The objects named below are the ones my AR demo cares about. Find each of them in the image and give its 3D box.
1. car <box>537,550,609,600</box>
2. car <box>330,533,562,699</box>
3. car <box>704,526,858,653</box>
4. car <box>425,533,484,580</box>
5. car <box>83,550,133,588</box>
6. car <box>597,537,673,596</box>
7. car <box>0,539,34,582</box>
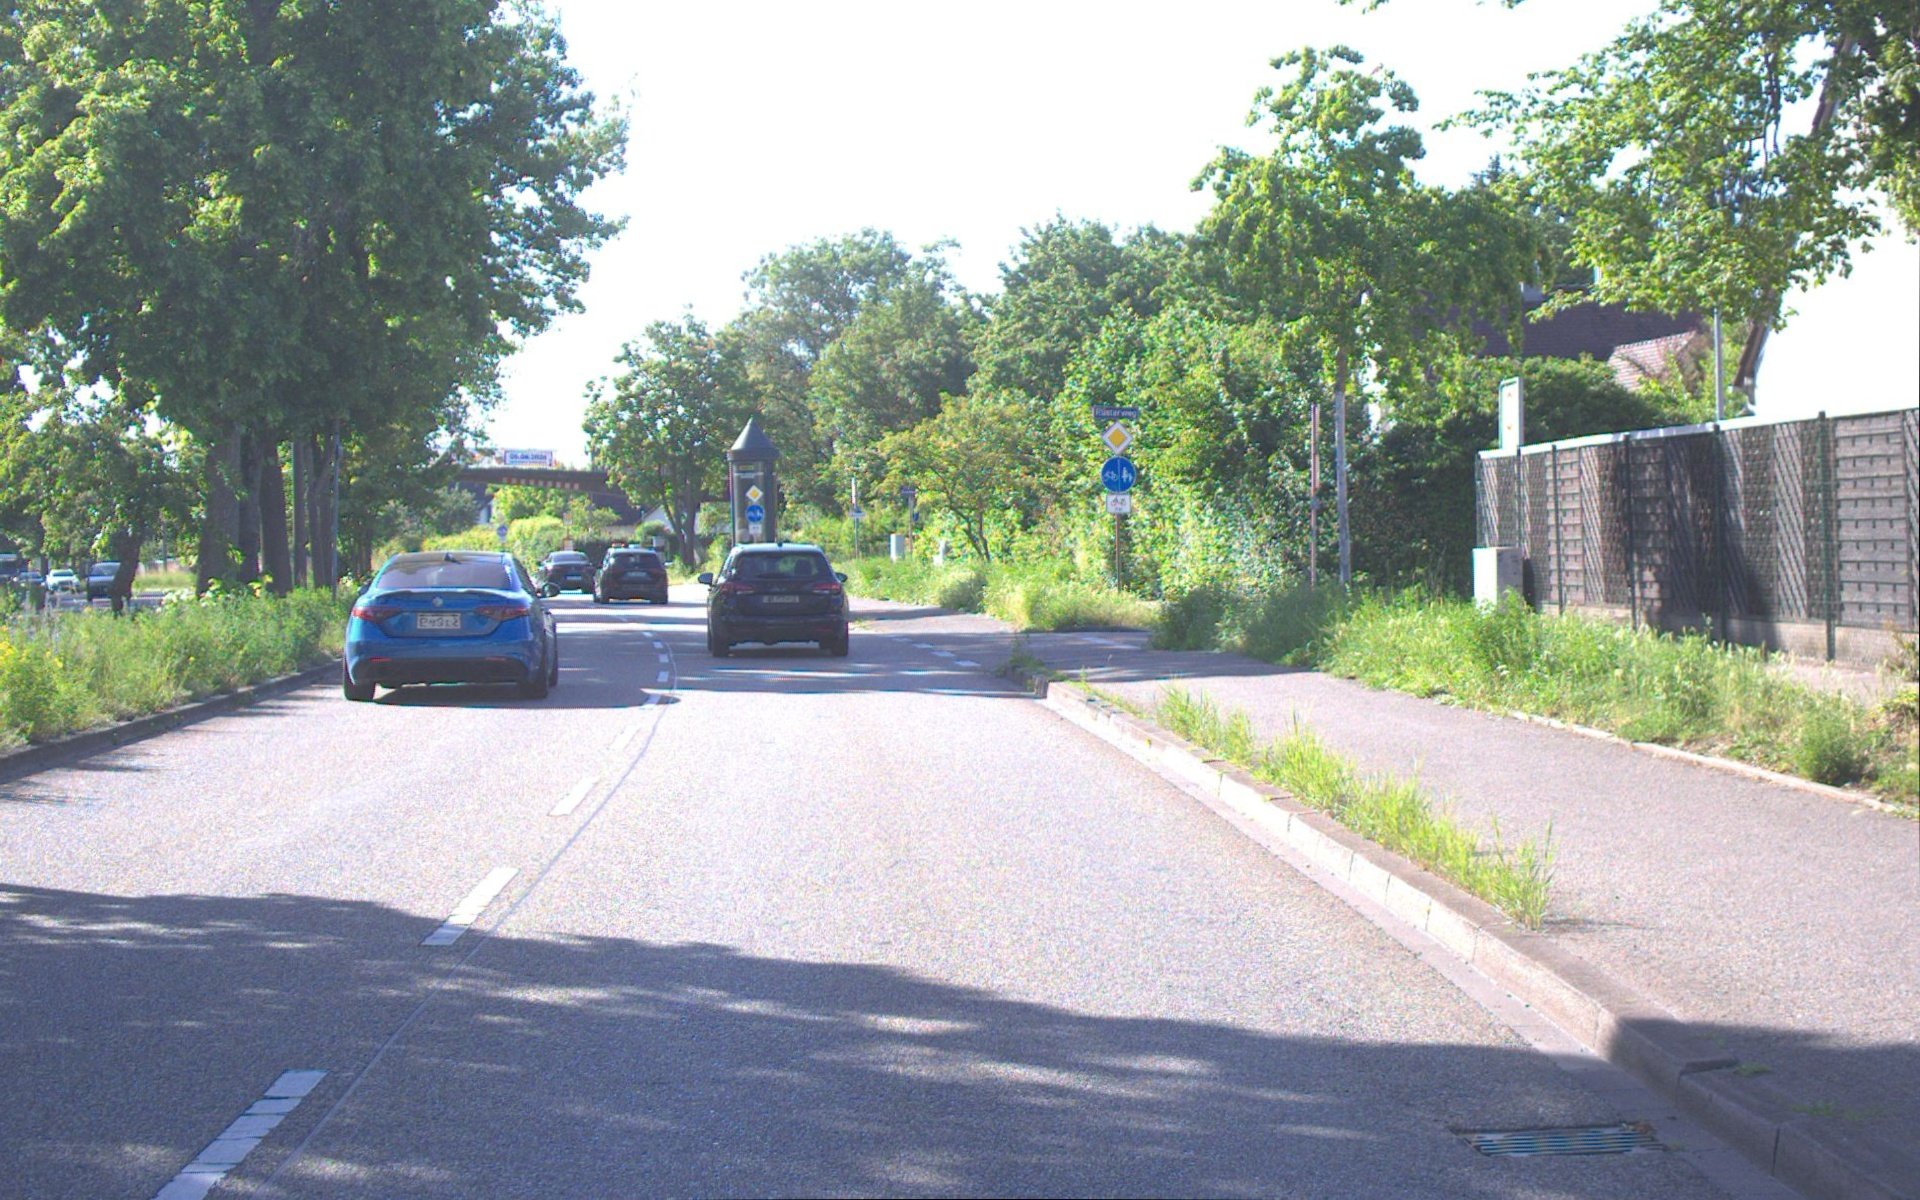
[{"bbox_3d":[-13.316,-0.870,118.051,1.915,1.672,4.014,0,1,-14],"label":"car"},{"bbox_3d":[-4.958,0.120,33.634,1.838,1.469,4.185,-2,1,-3],"label":"car"},{"bbox_3d":[-2.380,-0.171,45.678,1.915,1.574,4.183,-1,1,-3],"label":"car"},{"bbox_3d":[-17.059,-1.486,115.918,1.915,1.507,4.069,-1,1,-9],"label":"car"},{"bbox_3d":[-33.517,-1.228,135.275,1.669,1.462,3.783,-1,1,-10],"label":"car"},{"bbox_3d":[-8.827,-0.918,93.223,1.915,1.574,4.183,0,1,-7],"label":"car"},{"bbox_3d":[-45.444,-1.881,164.579,1.803,2.007,4.001,-1,1,-10],"label":"car"}]
